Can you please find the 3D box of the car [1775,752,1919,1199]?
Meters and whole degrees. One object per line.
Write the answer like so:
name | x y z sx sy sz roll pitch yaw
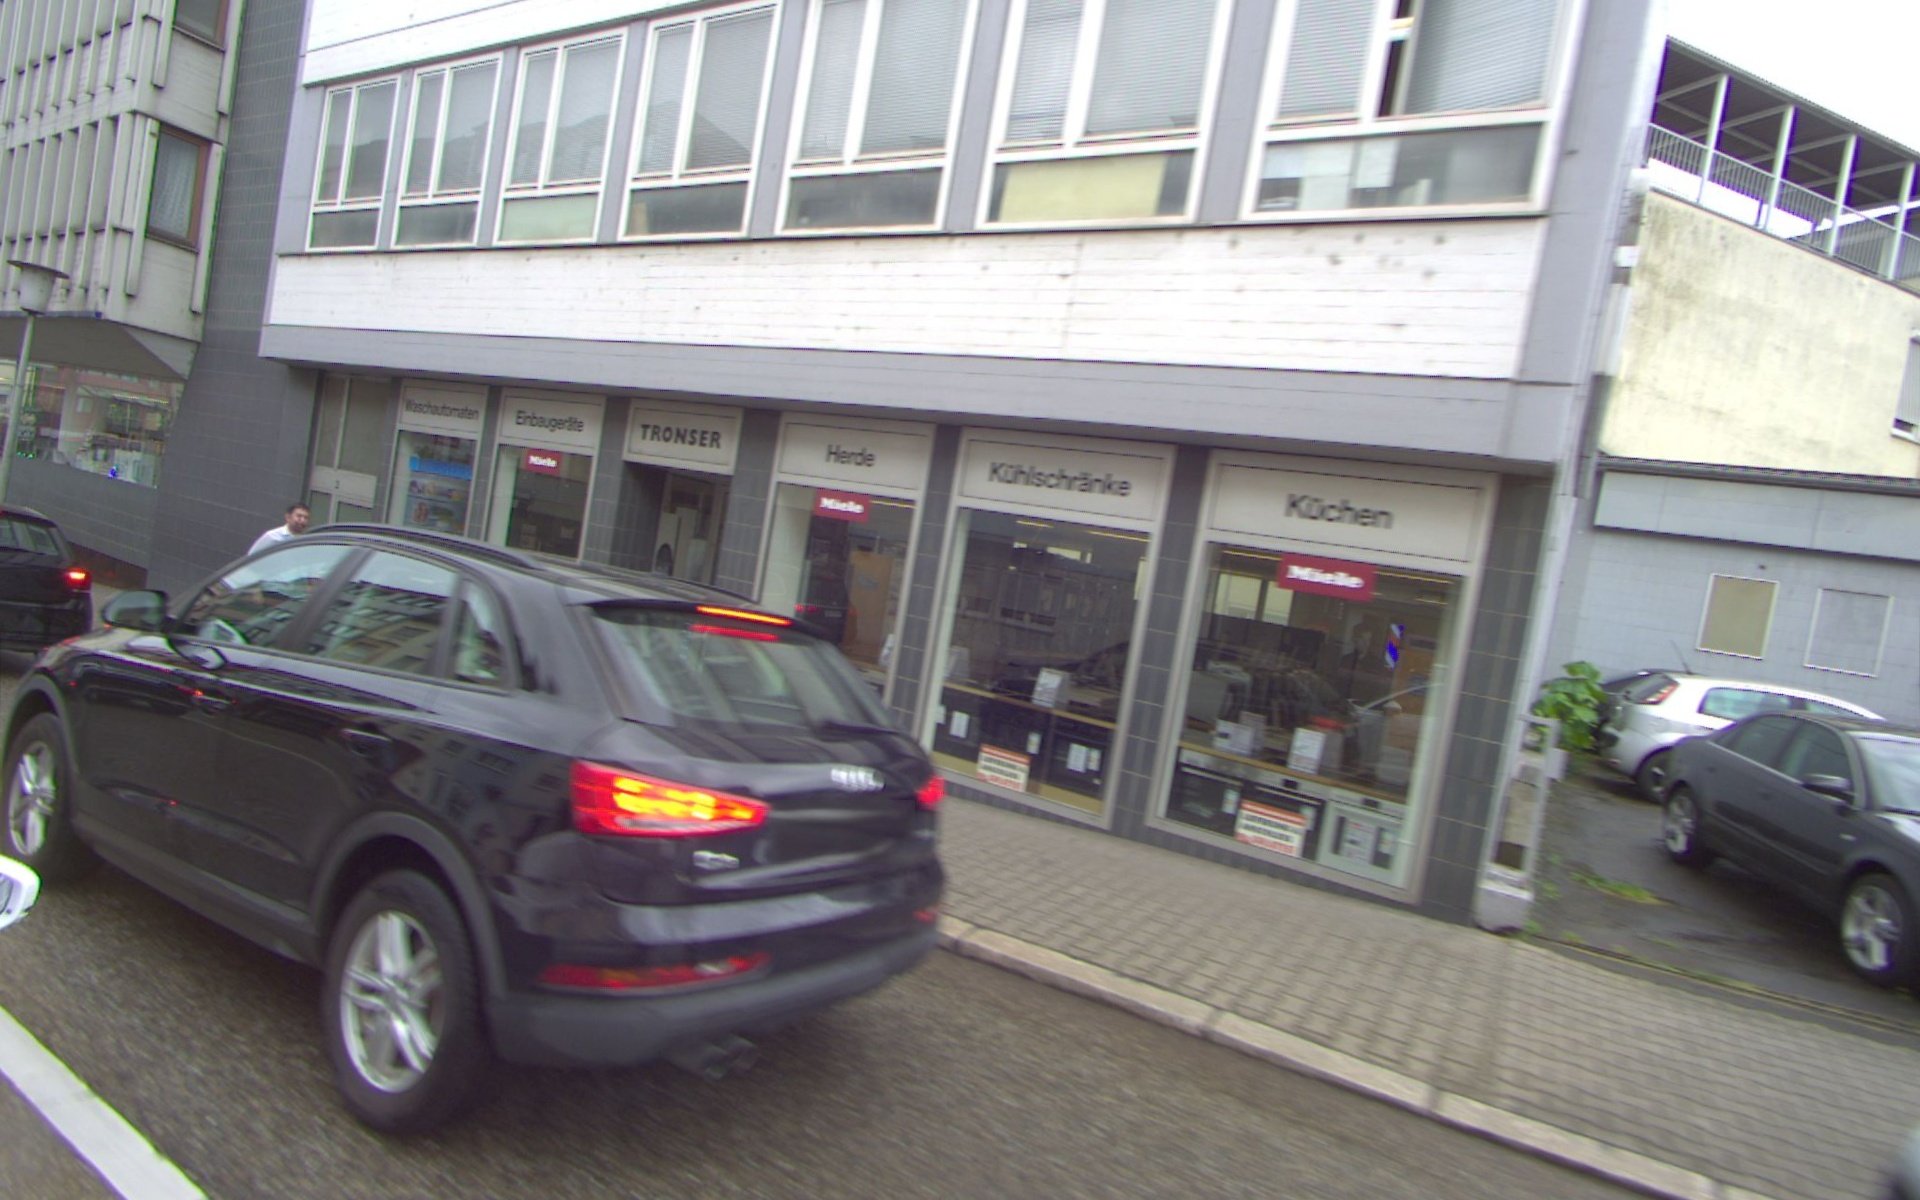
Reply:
car | 3.765 1.319 1.032 4.178 1.557 1.833 7 -3 28

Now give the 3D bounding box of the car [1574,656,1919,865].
car | 10.250 1.963 12.877 3.884 1.922 1.790 7 0 33

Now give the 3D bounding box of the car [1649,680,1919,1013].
car | 6.468 1.565 6.641 1.764 1.470 3.996 7 3 15

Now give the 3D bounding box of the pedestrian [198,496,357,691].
pedestrian | -6.629 -0.072 9.774 1.101 1.728 0.784 7 3 29

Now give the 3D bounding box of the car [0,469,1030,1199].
car | -2.055 0.533 3.998 4.131 1.577 1.828 7 -3 31

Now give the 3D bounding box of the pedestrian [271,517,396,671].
pedestrian | -6.911 -0.064 11.112 0.875 1.572 0.766 7 3 29

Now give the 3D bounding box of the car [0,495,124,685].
car | -9.501 -0.321 9.027 3.932 1.493 1.694 7 -3 30

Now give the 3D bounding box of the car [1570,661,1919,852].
car | 11.343 2.150 14.752 3.884 1.934 1.790 7 0 33

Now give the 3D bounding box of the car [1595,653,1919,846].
car | 9.311 1.598 10.955 3.884 1.542 1.789 7 2 33
